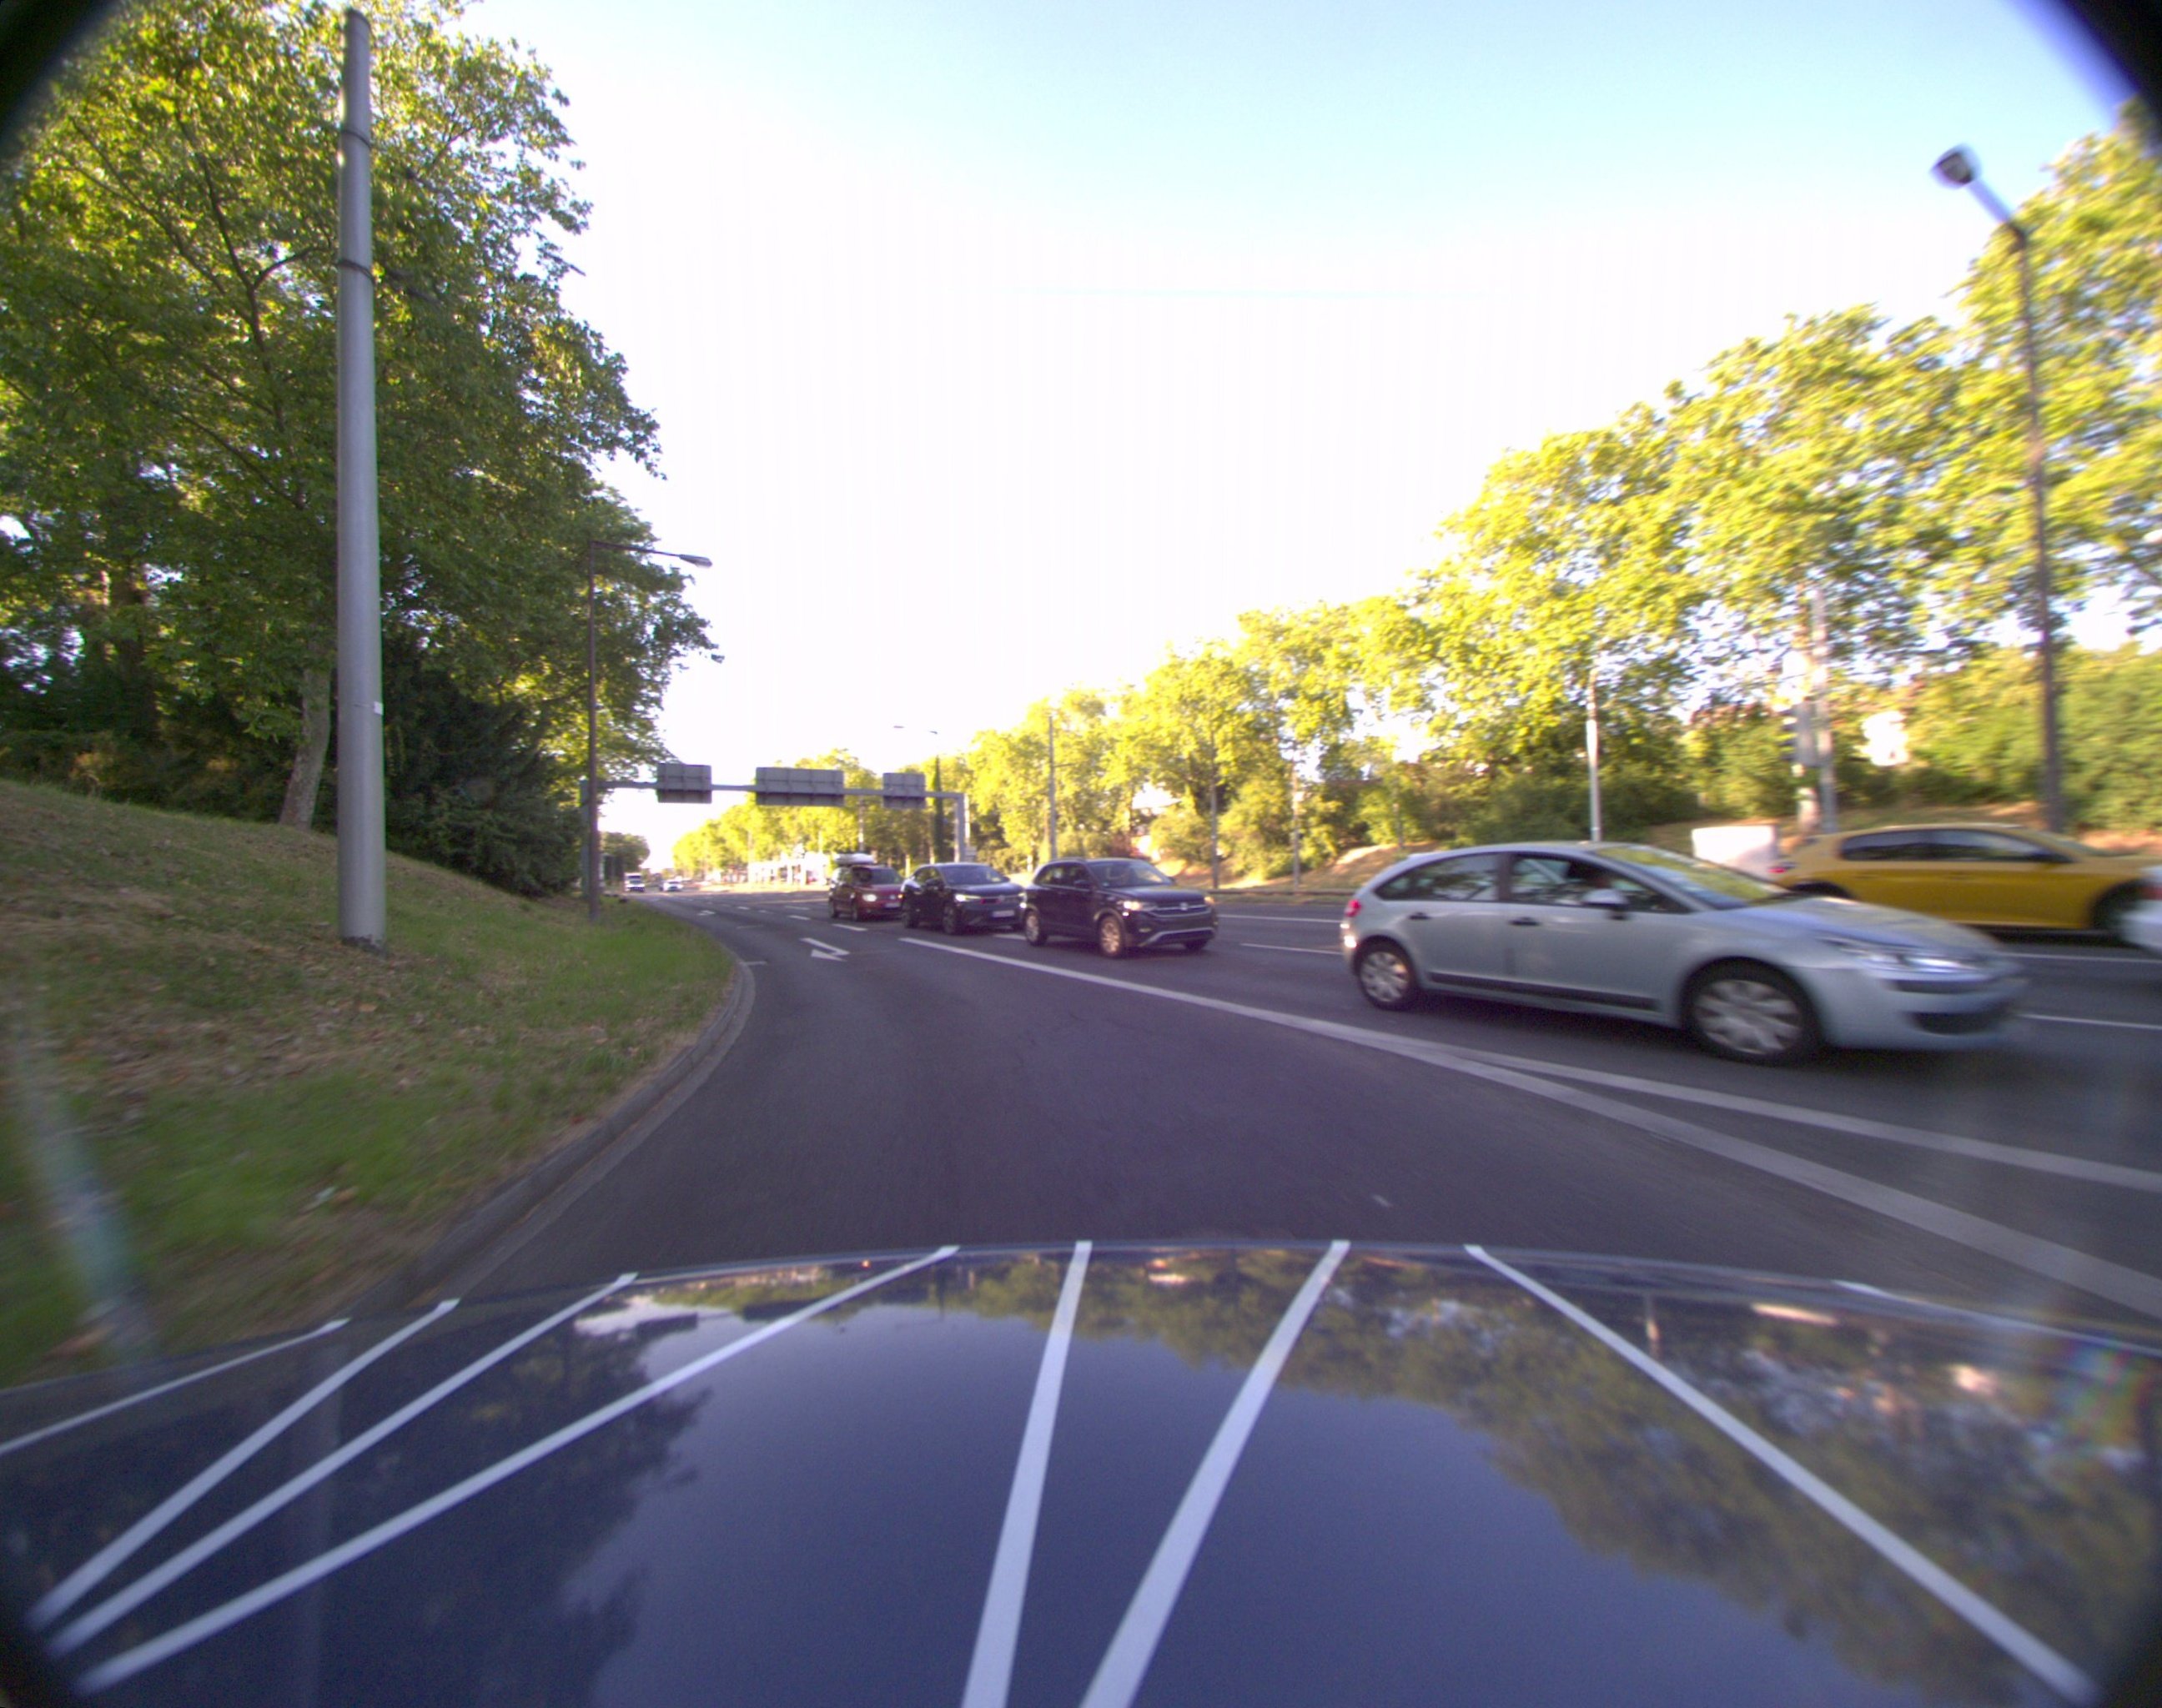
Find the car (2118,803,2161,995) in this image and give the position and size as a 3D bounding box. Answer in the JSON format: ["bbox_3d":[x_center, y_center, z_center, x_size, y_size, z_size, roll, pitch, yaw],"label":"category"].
[{"bbox_3d":[9.833,0.230,4.375,1.750,1.423,4.401,-3,0,-32],"label":"car"}]

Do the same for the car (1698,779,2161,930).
[{"bbox_3d":[10.853,0.080,9.920,1.671,1.555,3.991,0,-2,-32],"label":"car"}]

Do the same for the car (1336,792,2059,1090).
[{"bbox_3d":[4.222,0.508,5.938,1.801,1.472,3.991,0,-2,-32],"label":"car"}]

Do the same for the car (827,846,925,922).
[{"bbox_3d":[-6.320,0.916,23.135,1.801,2.092,3.991,0,-2,-32],"label":"car"}]

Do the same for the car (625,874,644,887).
[{"bbox_3d":[-54.961,3.271,93.503,1.880,1.608,4.537,0,-2,-32],"label":"car"}]

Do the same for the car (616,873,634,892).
[{"bbox_3d":[-61.417,3.865,102.324,2.013,2.515,5.863,0,-2,-31],"label":"car"}]

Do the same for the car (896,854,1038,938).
[{"bbox_3d":[-2.814,0.948,17.973,1.801,1.739,4.231,0,-2,-32],"label":"car"}]

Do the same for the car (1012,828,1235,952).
[{"bbox_3d":[0.535,0.583,12.872,1.801,1.739,3.991,0,-2,-32],"label":"car"}]

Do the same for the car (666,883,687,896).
[{"bbox_3d":[-51.675,4.483,97.136,1.878,1.608,3.994,0,-2,-19],"label":"car"}]

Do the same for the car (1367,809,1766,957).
[{"bbox_3d":[6.160,0.382,10.202,1.671,1.555,4.181,0,-2,-31],"label":"car"}]
